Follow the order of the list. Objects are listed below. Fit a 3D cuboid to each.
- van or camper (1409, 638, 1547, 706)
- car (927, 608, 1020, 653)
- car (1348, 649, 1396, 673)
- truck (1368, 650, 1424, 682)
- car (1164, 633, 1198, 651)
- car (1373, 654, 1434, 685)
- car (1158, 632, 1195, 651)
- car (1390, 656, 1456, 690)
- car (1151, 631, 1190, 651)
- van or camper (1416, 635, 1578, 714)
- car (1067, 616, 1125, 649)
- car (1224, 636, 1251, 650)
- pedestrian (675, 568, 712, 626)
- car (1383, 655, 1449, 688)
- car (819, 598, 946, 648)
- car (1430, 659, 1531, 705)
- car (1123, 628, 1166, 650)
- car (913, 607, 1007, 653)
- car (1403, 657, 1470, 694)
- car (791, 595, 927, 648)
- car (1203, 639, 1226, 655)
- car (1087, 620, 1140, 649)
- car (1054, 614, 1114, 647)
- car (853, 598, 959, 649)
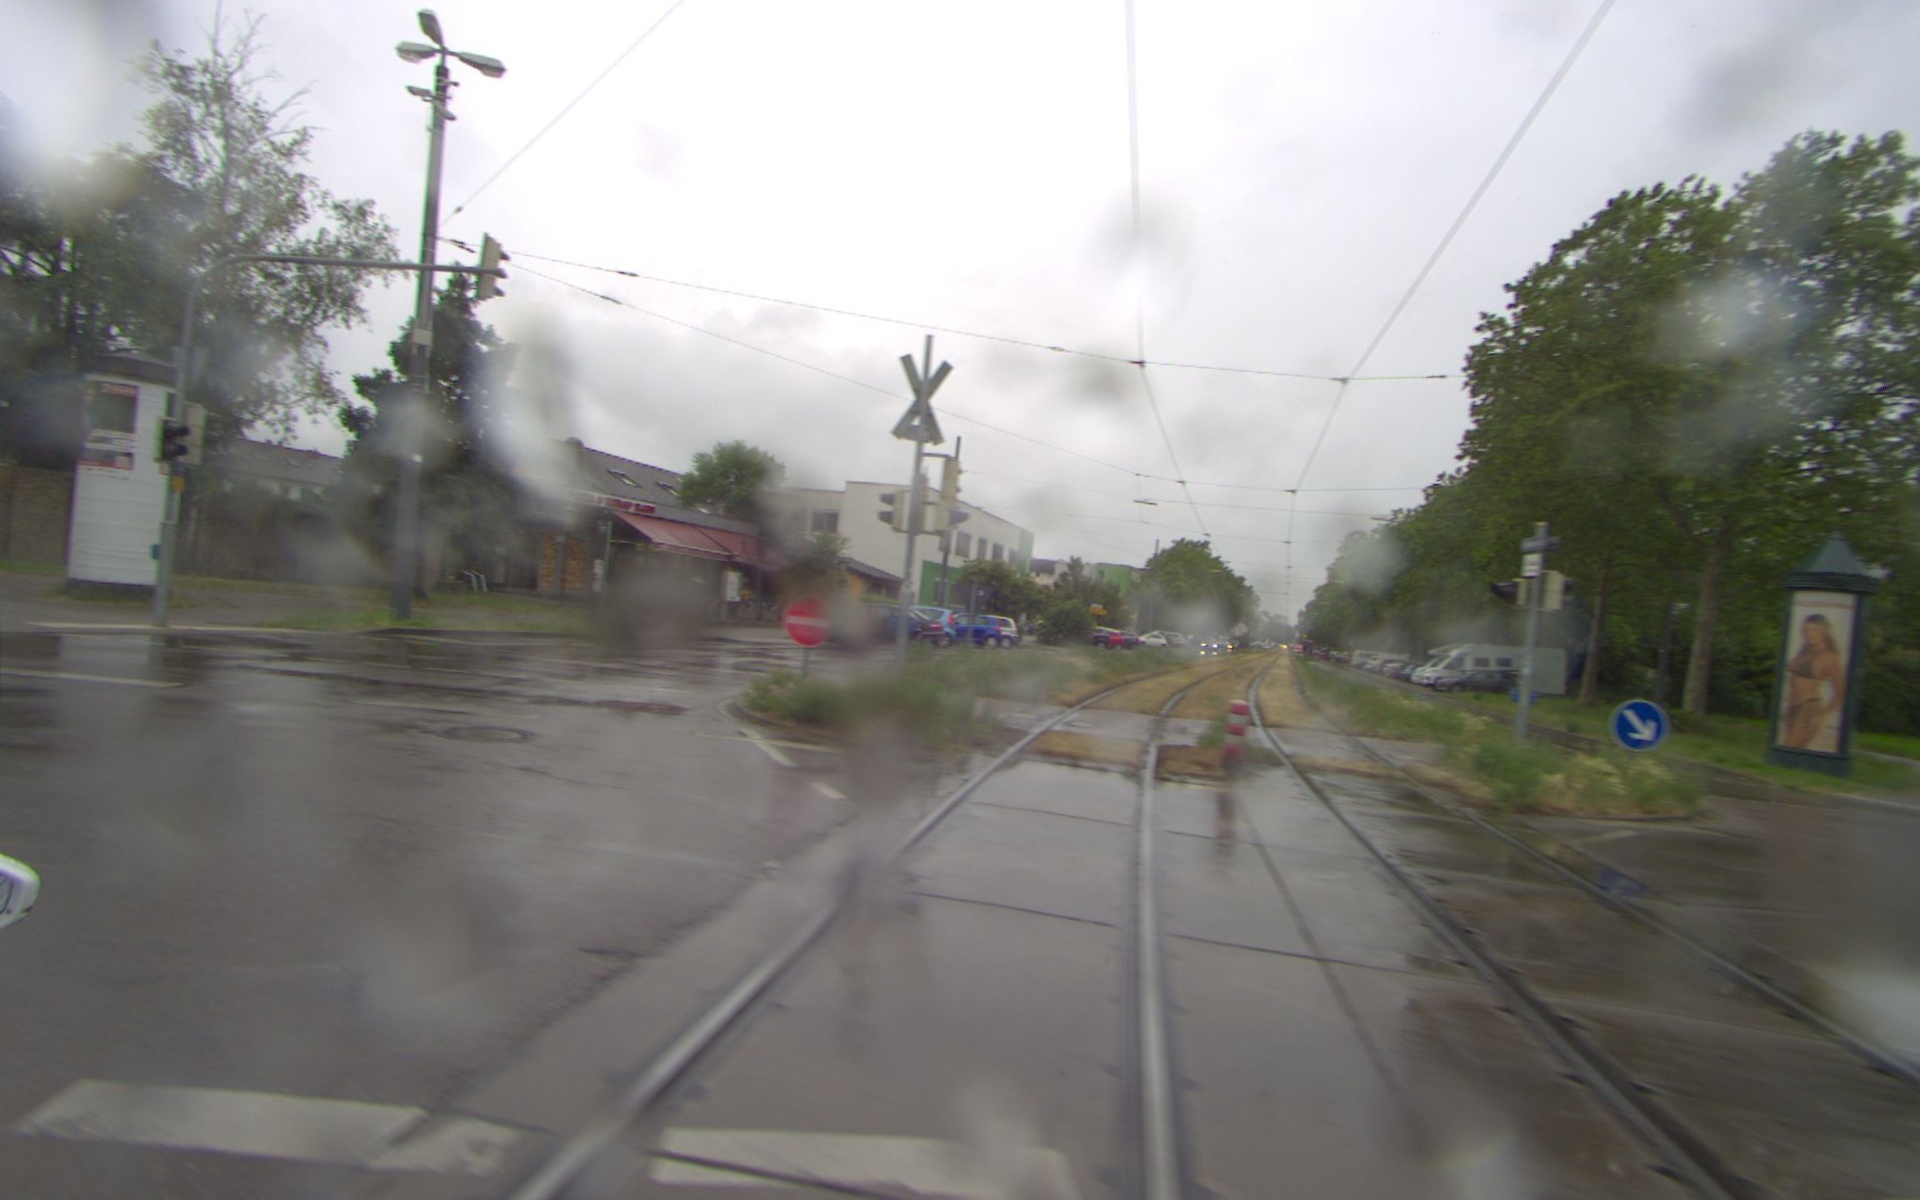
[{"bbox_3d":[32.901,4.557,64.261,7.315,3.217,3.261,7,0,24],"label":"van or camper"},{"bbox_3d":[0.646,1.473,48.982,4.055,1.661,1.925,7,0,-12],"label":"car"},{"bbox_3d":[46.528,6.895,113.660,4.562,2.038,2.044,7,0,17],"label":"car"},{"bbox_3d":[41.680,6.332,96.318,4.651,2.367,2.430,7,0,22],"label":"truck"},{"bbox_3d":[29.467,5.601,134.241,3.928,1.854,1.999,8,0,-3],"label":"car"},{"bbox_3d":[39.029,6.152,88.524,4.655,2.038,2.428,7,0,27],"label":"car"},{"bbox_3d":[27.817,5.308,129.213,3.933,1.854,1.996,8,0,-10],"label":"car"},{"bbox_3d":[34.771,5.478,75.490,4.237,1.969,1.965,7,0,27],"label":"car"},{"bbox_3d":[25.141,4.861,120.319,3.933,1.780,2.007,8,0,-10],"label":"car"},{"bbox_3d":[29.638,4.060,55.947,7.209,3.217,3.263,7,0,20],"label":"van or camper"},{"bbox_3d":[10.123,2.391,74.927,3.925,1.886,2.000,8,0,3],"label":"car"},{"bbox_3d":[47.905,7.408,173.524,3.928,1.854,1.999,8,0,-3],"label":"car"},{"bbox_3d":[-8.917,-0.086,33.680,0.713,1.820,0.886,8,1,4],"label":"pedestrian"},{"bbox_3d":[37.606,5.879,82.982,4.655,2.038,2.428,7,0,27],"label":"car"},{"bbox_3d":[-2.857,0.857,37.555,4.426,1.436,1.859,5,0,3],"label":"car"},{"bbox_3d":[27.292,4.309,52.963,4.377,1.738,2.000,7,0,23],"label":"car"},{"bbox_3d":[18.747,3.952,102.285,3.722,1.723,1.834,8,0,-8],"label":"car"},{"bbox_3d":[-0.023,1.363,45.892,3.932,1.601,1.927,7,0,-10],"label":"car"},{"bbox_3d":[34.071,5.402,71.953,4.113,2.038,2.184,7,0,27],"label":"car"},{"bbox_3d":[-3.471,0.743,35.163,4.407,1.436,1.859,5,0,3],"label":"car"},{"bbox_3d":[31.641,5.873,125.076,1.863,1.682,3.998,7,-1,25],"label":"car"},{"bbox_3d":[13.085,2.937,85.940,3.929,1.910,1.998,8,0,-5],"label":"car"},{"bbox_3d":[8.876,2.191,72.261,3.925,1.864,2.000,8,0,3],"label":"car"},{"bbox_3d":[-2.161,0.955,40.926,3.924,1.601,1.859,6,0,6],"label":"car"}]
